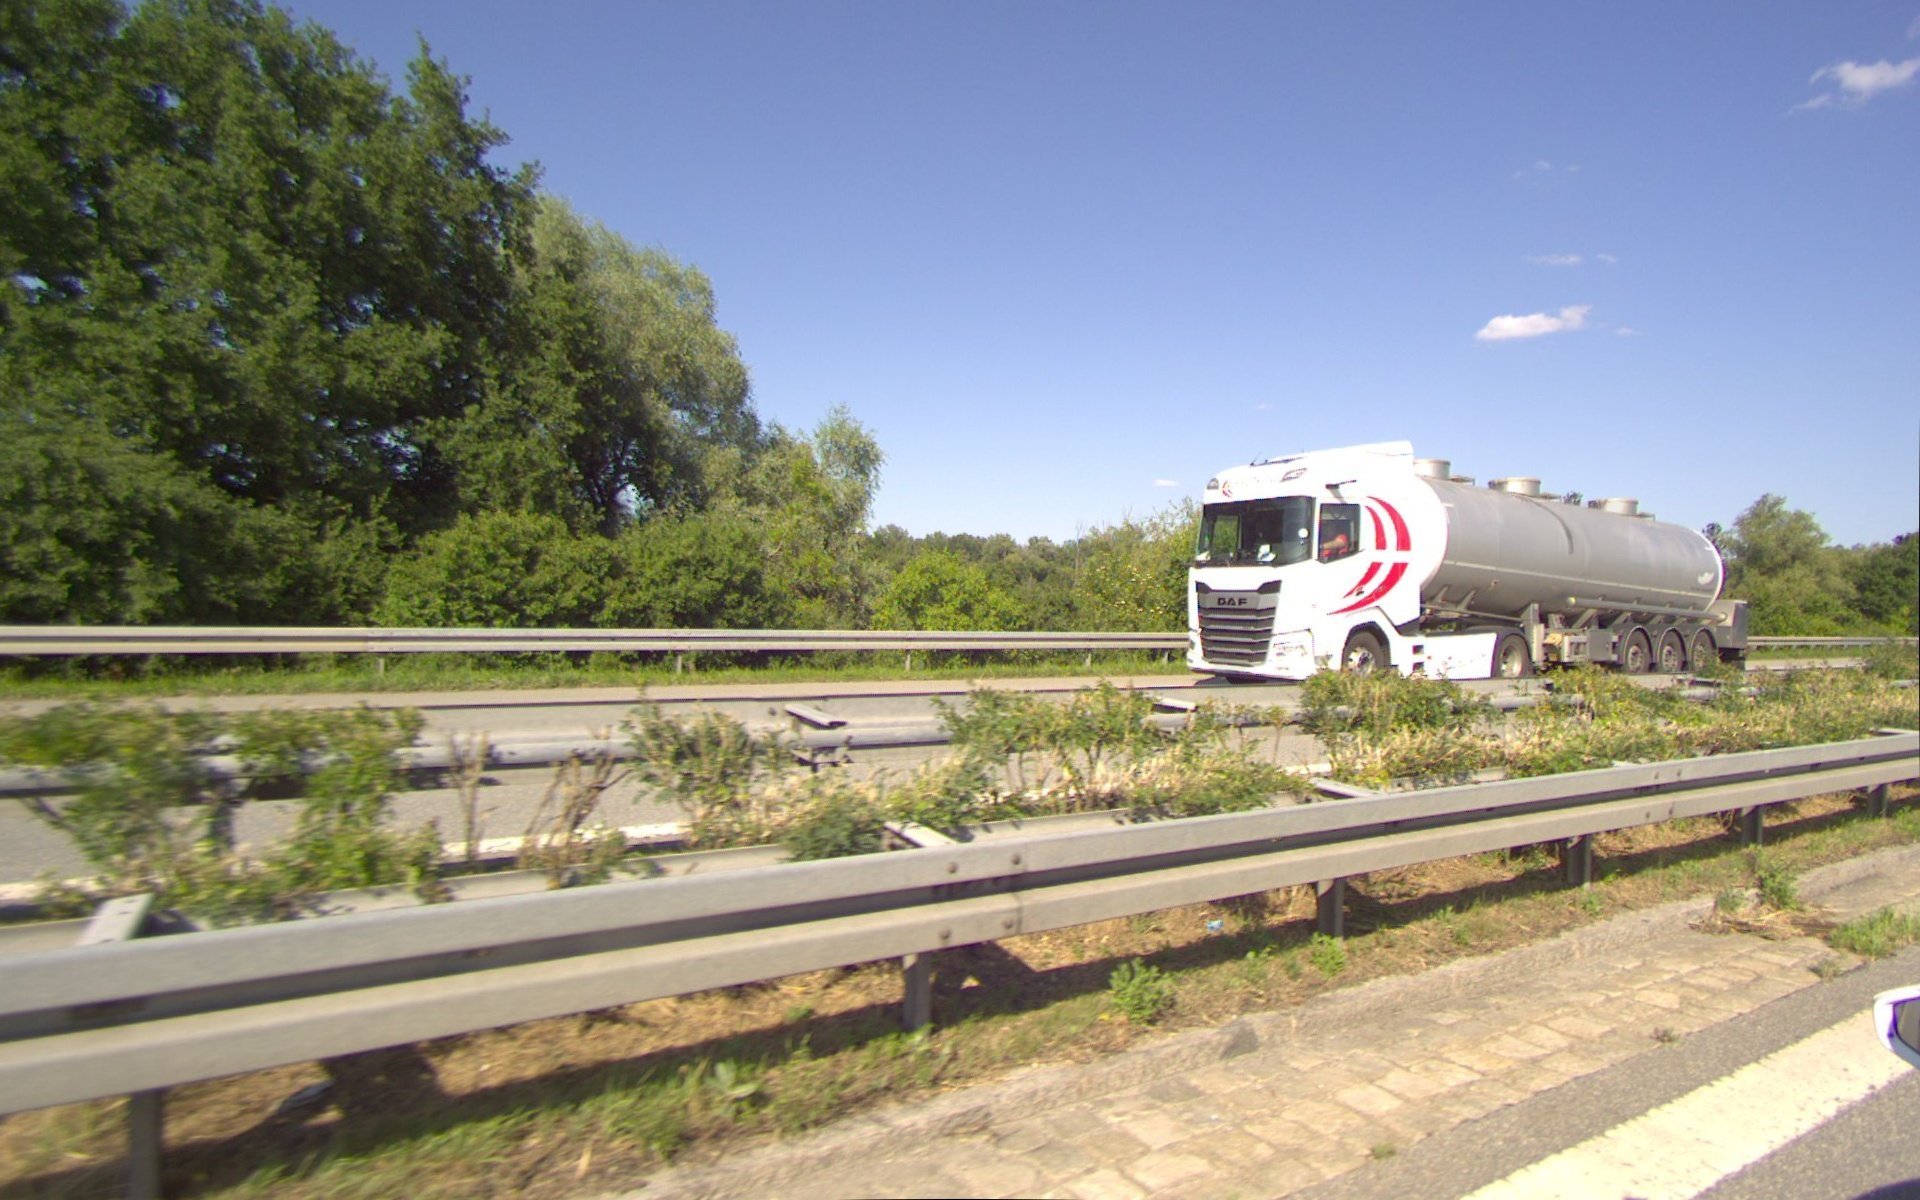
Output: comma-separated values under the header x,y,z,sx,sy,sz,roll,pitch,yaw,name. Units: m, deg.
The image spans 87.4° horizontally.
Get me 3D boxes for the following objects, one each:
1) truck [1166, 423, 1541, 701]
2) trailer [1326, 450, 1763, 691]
x,y,z,sx,sy,sz,roll,pitch,yaw,name
6.503,-0.458,16.418,5.905,3.776,2.726,1,-1,-32,truck
11.871,-0.356,19.760,10.791,3.776,2.726,1,-1,-32,trailer
